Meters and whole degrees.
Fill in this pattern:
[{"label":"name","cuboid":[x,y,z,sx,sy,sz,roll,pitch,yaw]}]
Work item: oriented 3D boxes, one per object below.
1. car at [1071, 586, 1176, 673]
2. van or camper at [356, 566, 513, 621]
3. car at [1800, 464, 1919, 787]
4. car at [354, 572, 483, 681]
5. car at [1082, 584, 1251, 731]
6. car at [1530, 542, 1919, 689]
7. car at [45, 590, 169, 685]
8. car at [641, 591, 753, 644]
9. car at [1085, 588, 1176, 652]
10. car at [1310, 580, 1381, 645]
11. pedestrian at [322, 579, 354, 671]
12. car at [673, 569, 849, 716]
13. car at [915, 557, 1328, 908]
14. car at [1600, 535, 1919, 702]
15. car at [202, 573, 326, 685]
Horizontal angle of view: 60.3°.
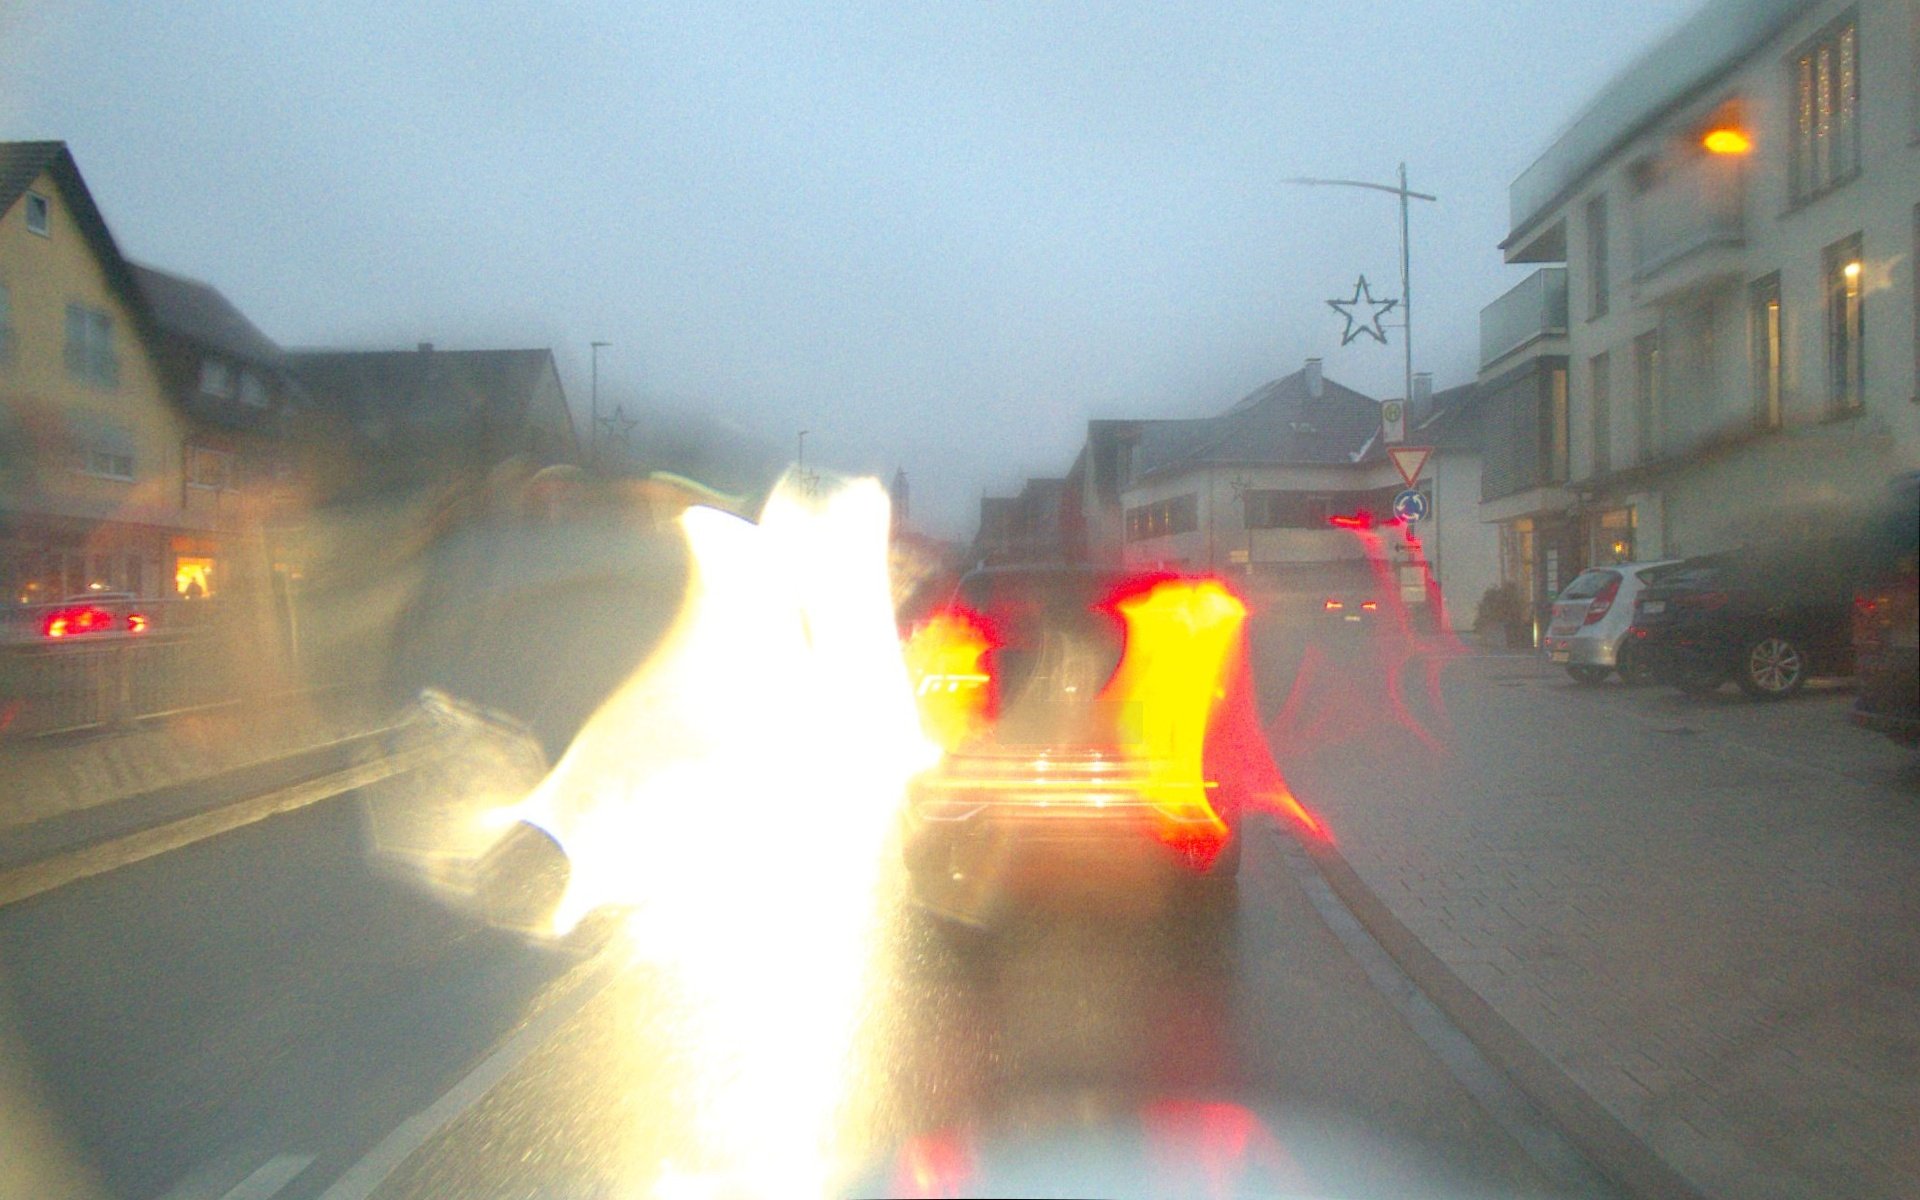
[{"label":"car","cuboid":[2.994,0.488,30.186,1.776,1.436,4.003,1,1,6]},{"label":"van or camper","cuboid":[-19.776,-0.254,62.291,5.413,1.989,2.001,-1,0,17]},{"label":"car","cuboid":[8.010,-0.063,10.229,4.470,1.953,1.950,-6,-1,2]},{"label":"car","cuboid":[-10.641,0.466,32.319,2.010,1.959,4.027,-1,0,-24]},{"label":"car","cuboid":[2.236,0.569,18.745,1.647,1.478,4.002,-1,0,3]},{"label":"car","cuboid":[9.353,0.174,20.169,4.122,1.485,1.792,-3,0,-3]},{"label":"car","cuboid":[-16.076,0.653,31.338,1.797,1.641,4.027,-1,0,-24]},{"label":"car","cuboid":[-8.663,0.545,54.233,1.979,1.442,3.948,-5,5,-37]},{"label":"car","cuboid":[3.972,0.427,39.103,1.952,1.416,4.002,-1,0,3]},{"label":"car","cuboid":[13.414,0.393,57.725,2.112,2.025,4.503,-4,0,11]},{"label":"pedestrian","cuboid":[-12.016,0.469,31.929,0.489,1.731,0.708,-2,1,-24]},{"label":"car","cuboid":[-2.450,0.474,21.255,1.701,1.682,4.001,-1,1,1]},{"label":"car","cuboid":[0.890,0.601,9.977,1.923,1.622,4.315,1,1,3]},{"label":"car","cuboid":[9.037,0.135,17.056,4.122,1.485,1.792,-3,0,-3]},{"label":"car","cuboid":[-13.218,0.490,31.396,2.010,1.959,4.027,-1,0,-24]}]
